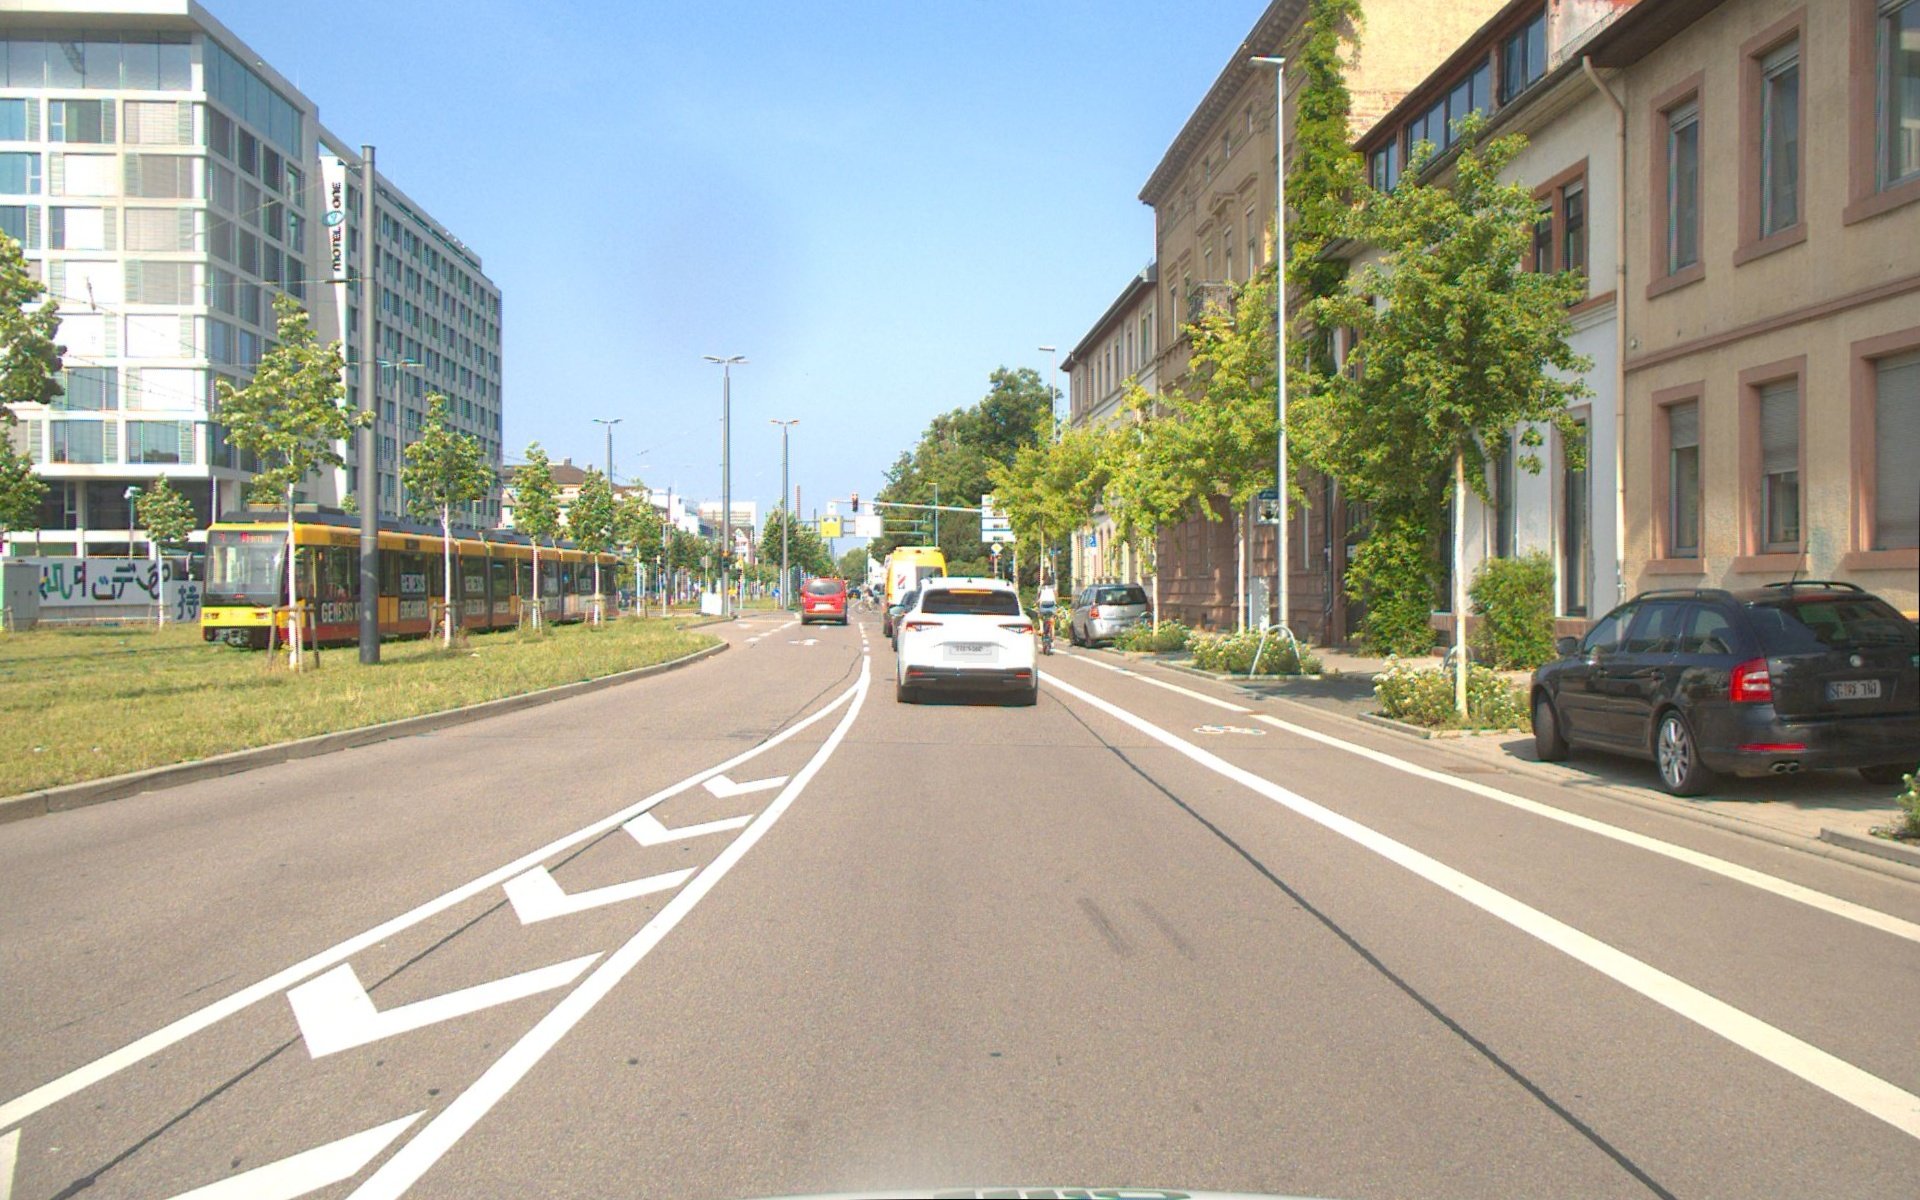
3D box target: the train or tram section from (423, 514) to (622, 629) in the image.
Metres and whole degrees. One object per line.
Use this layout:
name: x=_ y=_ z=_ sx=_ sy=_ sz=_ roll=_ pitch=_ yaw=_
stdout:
train or tram section: x=-16.591 y=-1.028 z=64.818 sx=2.846 sy=3.771 sz=18.290 roll=1 pitch=0 yaw=0

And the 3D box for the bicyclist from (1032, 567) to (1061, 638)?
bicyclist: x=1.988 y=0.044 z=37.968 sx=0.626 sy=1.604 sz=0.771 roll=0 pitch=1 yaw=-1

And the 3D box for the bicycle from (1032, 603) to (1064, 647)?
bicycle: x=1.998 y=0.561 z=37.770 sx=0.642 sy=0.955 sz=1.517 roll=0 pitch=1 yaw=-1

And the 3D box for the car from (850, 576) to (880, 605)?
car: x=-6.322 y=-0.650 z=109.934 sx=1.892 sy=1.853 sz=3.999 roll=0 pitch=1 yaw=-2

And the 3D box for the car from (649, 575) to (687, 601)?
car: x=-18.962 y=-0.822 z=107.477 sx=1.779 sy=1.650 sz=4.000 roll=0 pitch=1 yaw=-1

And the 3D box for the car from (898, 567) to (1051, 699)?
car: x=0.105 y=0.371 z=22.232 sx=1.832 sy=1.602 sz=3.998 roll=0 pitch=1 yaw=-3

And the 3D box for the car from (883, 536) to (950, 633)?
car: x=-1.414 y=-0.565 z=52.059 sx=1.980 sy=2.844 sz=5.399 roll=0 pitch=3 yaw=-3

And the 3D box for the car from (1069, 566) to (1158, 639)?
car: x=3.973 y=0.025 z=43.333 sx=1.776 sy=1.844 sz=3.833 roll=0 pitch=1 yaw=-3

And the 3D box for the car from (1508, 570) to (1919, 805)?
car: x=6.013 y=0.558 z=13.154 sx=1.640 sy=1.509 sz=4.309 roll=-2 pitch=1 yaw=-3

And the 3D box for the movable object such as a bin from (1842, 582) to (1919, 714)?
movable object such as a bin: x=9.002 y=0.439 z=15.794 sx=0.725 sy=1.221 sz=0.773 roll=0 pitch=1 yaw=-4

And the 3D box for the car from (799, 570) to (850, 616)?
car: x=-5.542 y=-0.305 z=68.091 sx=1.892 sy=1.853 sz=3.999 roll=0 pitch=1 yaw=-2

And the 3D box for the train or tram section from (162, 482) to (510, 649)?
train or tram section: x=-16.633 y=-0.850 z=46.593 sx=2.846 sy=3.740 sz=18.136 roll=1 pitch=0 yaw=0

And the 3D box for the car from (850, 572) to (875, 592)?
car: x=-7.859 y=-1.472 z=133.041 sx=1.892 sy=1.590 sz=3.999 roll=0 pitch=1 yaw=-2
